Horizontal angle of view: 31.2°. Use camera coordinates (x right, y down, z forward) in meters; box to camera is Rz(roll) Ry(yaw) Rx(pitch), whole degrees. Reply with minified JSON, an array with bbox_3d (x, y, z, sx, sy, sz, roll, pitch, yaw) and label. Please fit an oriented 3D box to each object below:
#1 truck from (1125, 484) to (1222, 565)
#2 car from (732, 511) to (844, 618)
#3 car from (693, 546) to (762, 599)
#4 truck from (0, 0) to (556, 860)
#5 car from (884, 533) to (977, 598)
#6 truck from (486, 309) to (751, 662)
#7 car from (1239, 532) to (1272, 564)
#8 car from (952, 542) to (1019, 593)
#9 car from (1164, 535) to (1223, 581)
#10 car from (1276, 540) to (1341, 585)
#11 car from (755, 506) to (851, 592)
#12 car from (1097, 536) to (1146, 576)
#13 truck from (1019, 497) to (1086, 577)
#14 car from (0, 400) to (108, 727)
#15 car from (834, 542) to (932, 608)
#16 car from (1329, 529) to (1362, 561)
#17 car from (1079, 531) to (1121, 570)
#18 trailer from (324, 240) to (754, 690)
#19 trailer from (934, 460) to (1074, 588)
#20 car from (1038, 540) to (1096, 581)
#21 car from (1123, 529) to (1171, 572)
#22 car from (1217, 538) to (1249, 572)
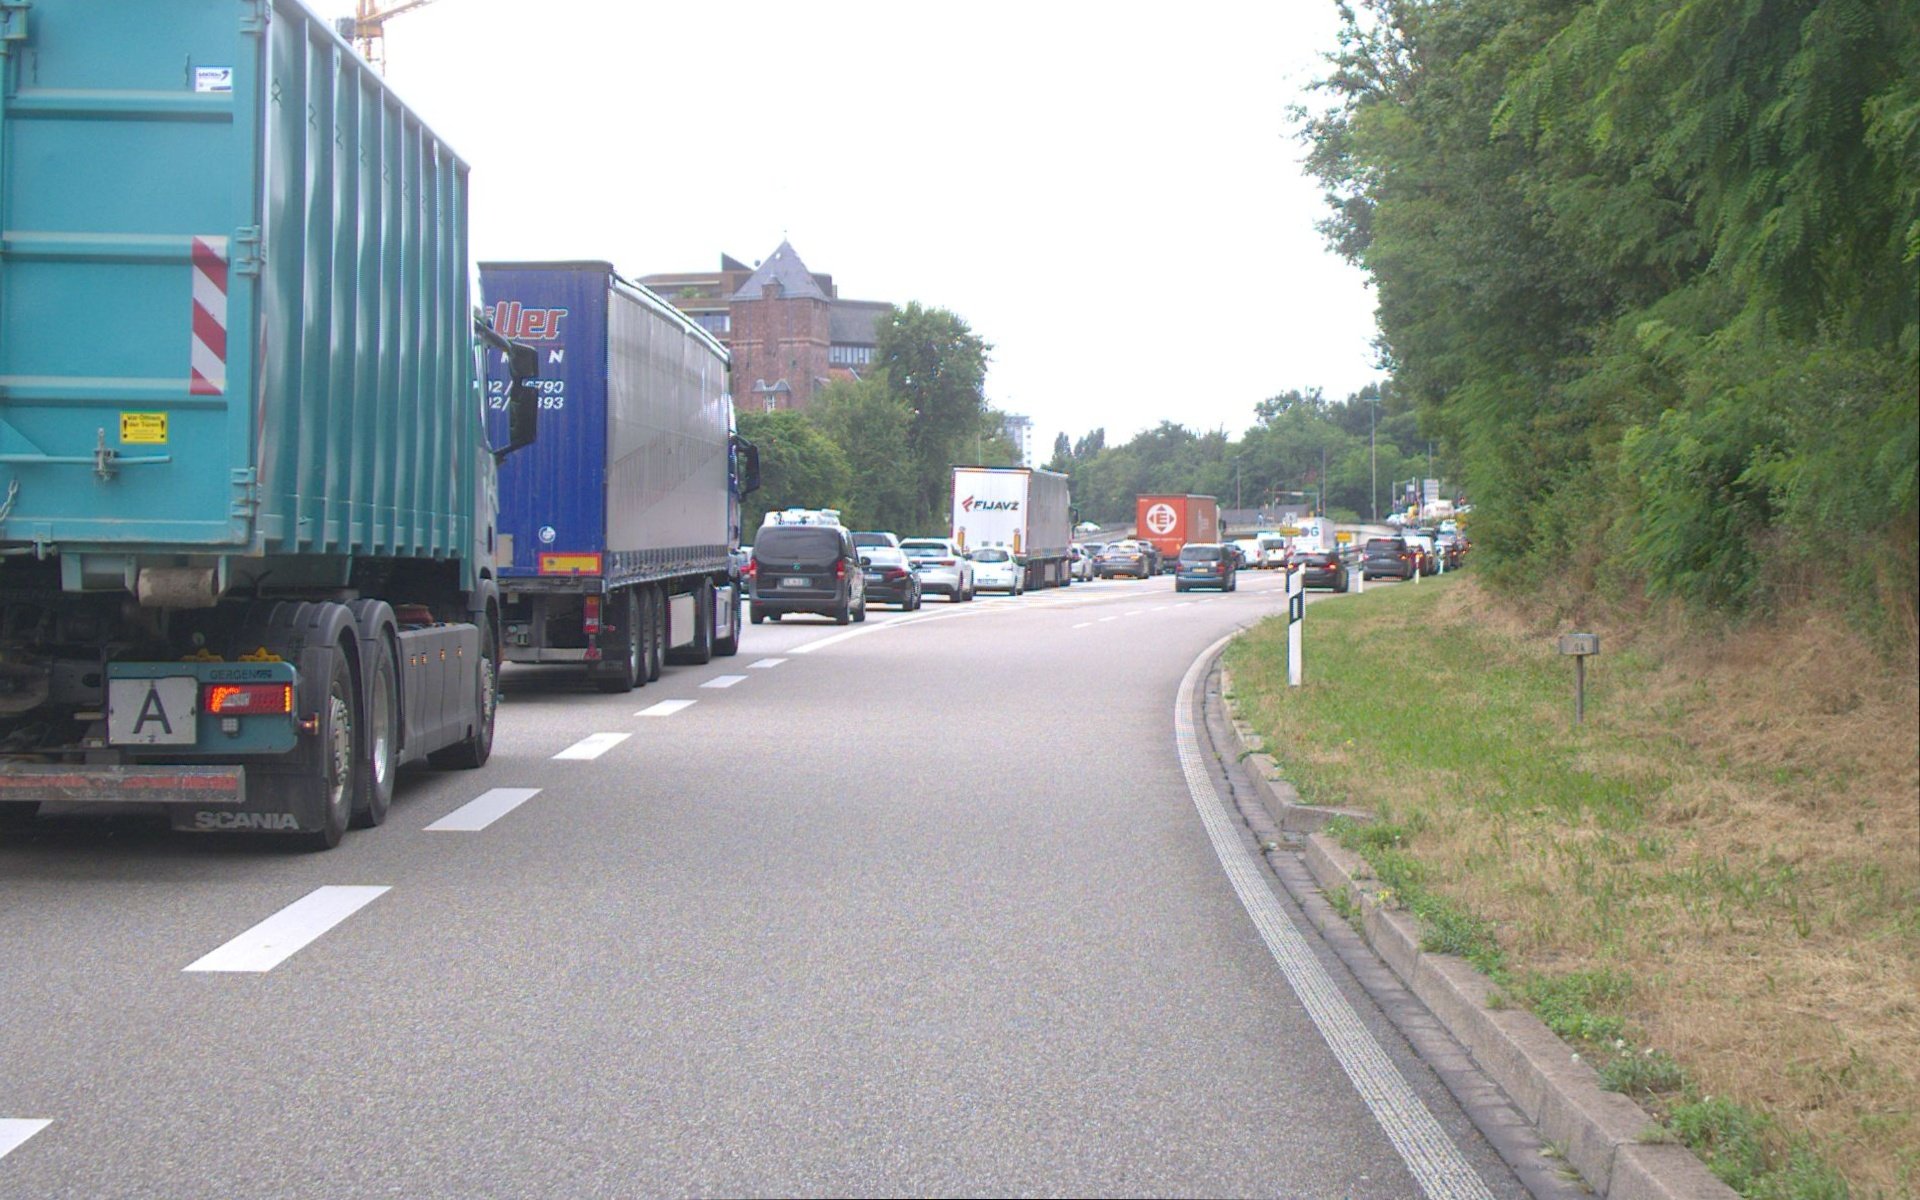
[{"bbox_3d":[11.206,-3.930,179.281,3.491,4.059,13.586,0,1,10],"label":"truck"},{"bbox_3d":[-3.300,-0.689,66.418,1.987,1.891,4.985,-3,1,-2],"label":"car"},{"bbox_3d":[-6.194,-0.753,91.664,1.441,1.382,3.047,0,1,4],"label":"car"},{"bbox_3d":[-4.369,-0.929,19.662,2.929,3.783,11.332,-1,1,-1],"label":"truck"},{"bbox_3d":[-0.758,-0.941,92.271,1.957,1.689,4.865,0,1,6],"label":"car"},{"bbox_3d":[-4.149,-1.353,43.040,2.561,4.029,6.589,1,0,0],"label":"truck"},{"bbox_3d":[18.304,-3.229,212.916,1.615,2.007,3.998,0,1,12],"label":"car"},{"bbox_3d":[0.790,-1.004,103.638,1.764,1.473,4.088,-1,1,4],"label":"car"},{"bbox_3d":[7.773,-1.419,114.581,1.825,1.477,4.000,-1,1,2],"label":"car"},{"bbox_3d":[11.649,-1.266,114.666,1.826,1.477,3.998,0,1,11],"label":"car"},{"bbox_3d":[-4.710,-1.550,104.088,1.994,2.545,5.360,0,1,7],"label":"car"},{"bbox_3d":[7.045,-1.891,149.606,1.718,1.678,3.999,1,0,9],"label":"car"},{"bbox_3d":[5.016,-3.322,184.762,2.739,4.124,10.695,1,0,6],"label":"truck"},{"bbox_3d":[-8.670,-0.301,26.734,2.222,2.569,6.798,1,0,1],"label":"car"},{"bbox_3d":[-1.750,-0.588,79.718,1.847,1.455,4.830,1,0,4],"label":"car"},{"bbox_3d":[24.436,-3.511,217.864,1.951,2.007,3.999,0,1,8],"label":"car"},{"bbox_3d":[7.329,-2.620,179.902,1.818,2.007,3.999,0,1,7],"label":"car"},{"bbox_3d":[-4.203,-1.275,37.745,2.626,4.009,13.463,1,0,2],"label":"trailer"},{"bbox_3d":[1.618,-2.477,116.644,3.299,4.022,13.094,1,0,7],"label":"trailer"},{"bbox_3d":[4.325,-1.601,138.779,1.800,1.598,4.256,1,0,9],"label":"car"},{"bbox_3d":[8.983,-2.369,164.631,1.994,2.007,3.999,0,1,8],"label":"car"},{"bbox_3d":[16.020,-2.616,201.621,1.615,1.941,3.704,1,0,8],"label":"car"}]
